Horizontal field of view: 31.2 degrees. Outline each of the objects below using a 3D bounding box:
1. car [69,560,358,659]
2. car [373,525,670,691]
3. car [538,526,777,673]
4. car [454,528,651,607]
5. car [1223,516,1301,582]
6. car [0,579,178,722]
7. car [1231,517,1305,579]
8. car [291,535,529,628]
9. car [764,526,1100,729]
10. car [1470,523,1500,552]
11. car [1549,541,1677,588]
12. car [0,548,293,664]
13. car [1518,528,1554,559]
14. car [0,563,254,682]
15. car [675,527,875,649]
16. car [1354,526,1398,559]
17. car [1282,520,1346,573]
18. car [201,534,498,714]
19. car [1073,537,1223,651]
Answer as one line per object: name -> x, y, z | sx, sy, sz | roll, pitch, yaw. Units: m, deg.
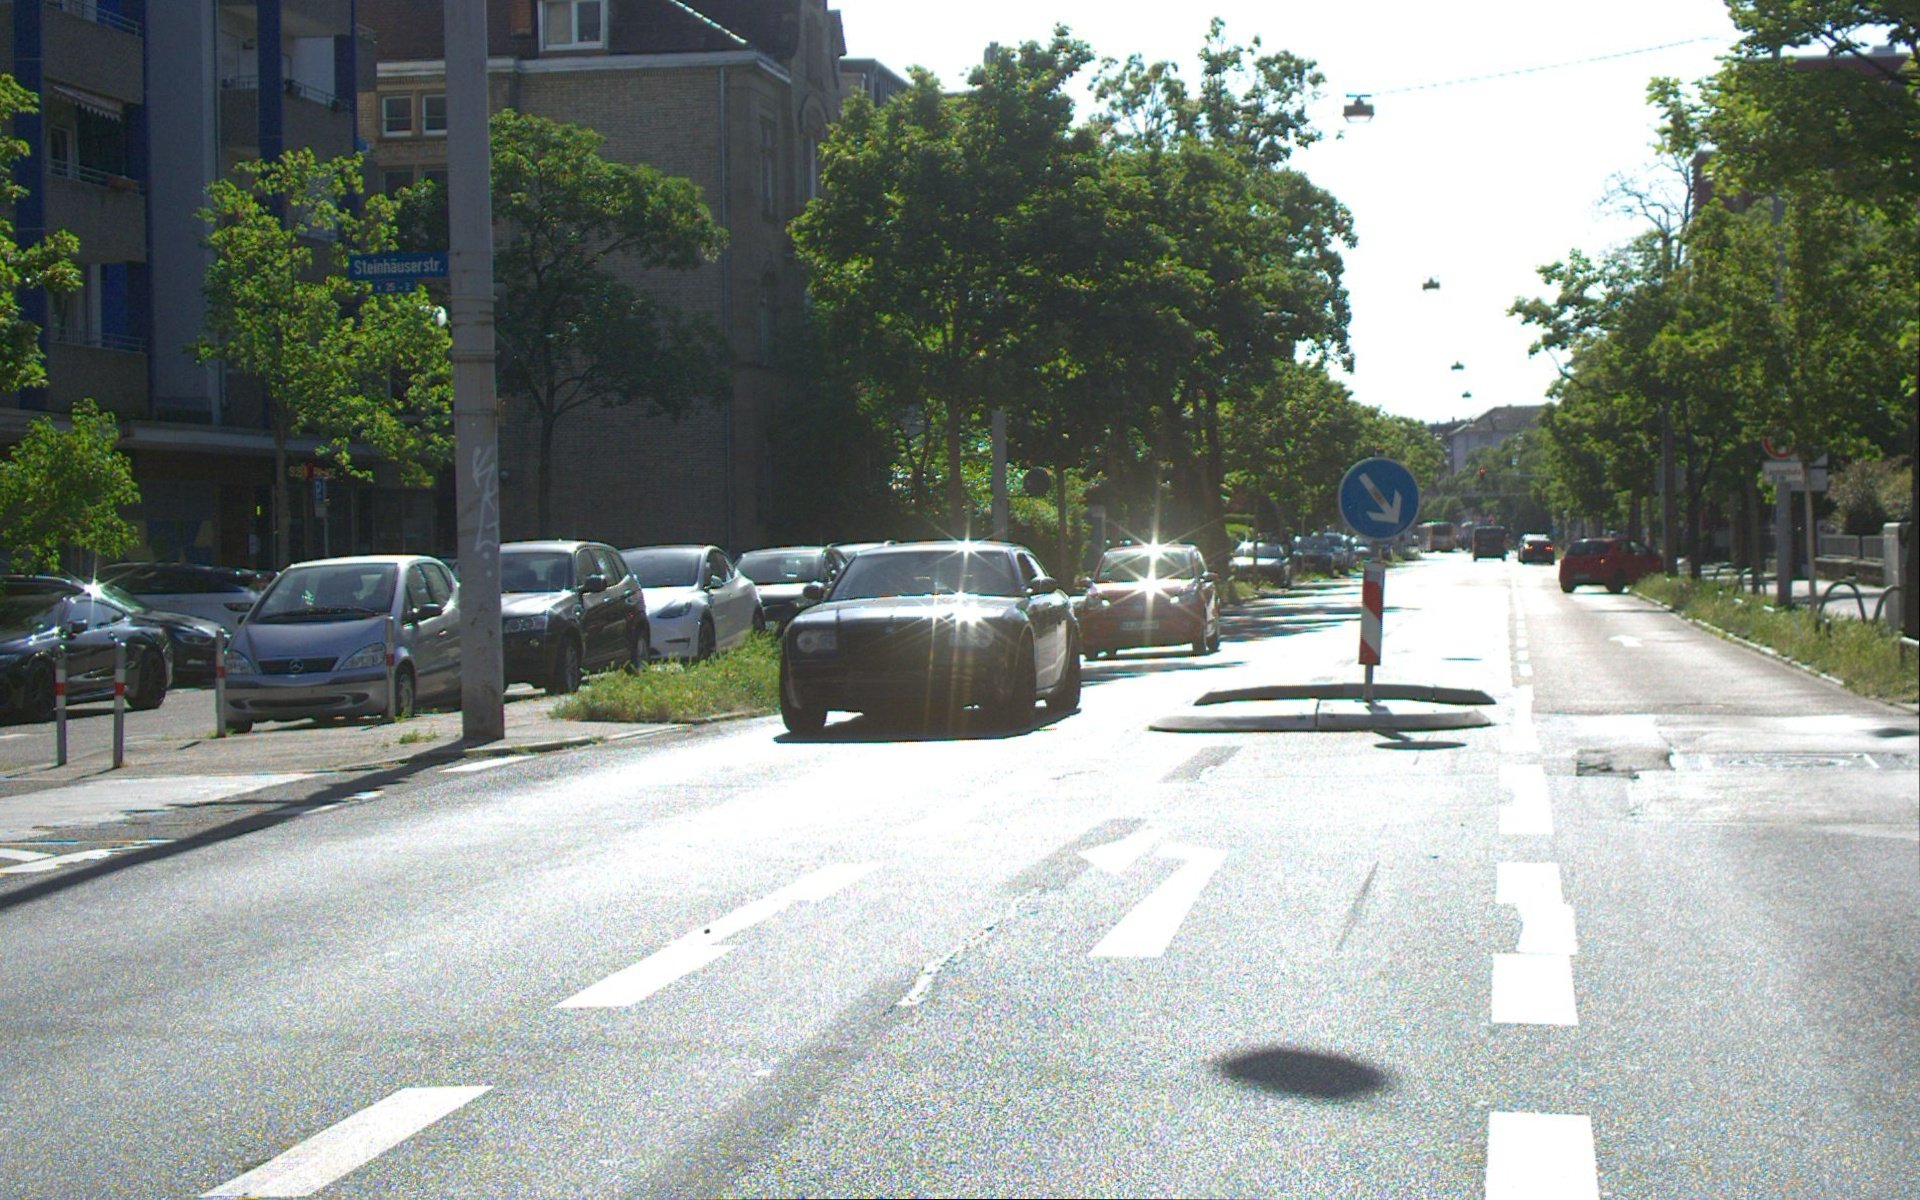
car -> -11.443, 0.142, 52.835 | 3.988, 1.420, 1.687 | -1, 1, 6
car -> -4.617, 0.035, 36.888 | 1.869, 1.622, 4.503 | -2, 1, 10
car -> -3.740, -0.053, 43.327 | 1.889, 1.656, 4.529 | -3, 1, 9
car -> -8.895, -0.717, 75.205 | 3.988, 1.624, 1.687 | -1, 1, 6
car -> 9.657, -1.650, 109.721 | 1.994, 2.007, 4.203 | -1, 1, 12
car -> -10.393, 0.531, 37.516 | 1.892, 1.393, 4.527 | -2, 1, 11
car -> 10.355, -1.761, 115.467 | 1.994, 2.007, 4.203 | -1, 1, 11
car -> -10.078, -0.351, 63.132 | 3.988, 1.624, 1.687 | -1, 1, 6
car -> -0.122, 0.158, 27.600 | 1.866, 1.453, 4.591 | -1, 1, 10
car -> 33.826, -4.045, 221.520 | 1.759, 1.777, 3.999 | -1, 1, 10
car -> 17.838, -0.982, 93.793 | 1.801, 1.219, 3.991 | 0, 1, 38
car -> -11.999, 0.078, 50.316 | 3.988, 1.602, 1.841 | -1, 1, 6
car -> 32.168, -3.164, 191.959 | 1.952, 1.702, 3.999 | -1, 1, 10
car -> -11.995, 0.306, 47.567 | 3.988, 1.546, 1.769 | -1, 1, 6
car -> -2.604, -0.202, 49.318 | 1.864, 1.582, 3.998 | -2, 1, 11
car -> 22.361, -3.107, 184.712 | 1.994, 1.690, 3.998 | -1, 1, 11
car -> 14.083, -2.142, 136.550 | 2.062, 2.007, 4.627 | -1, 1, 11
car -> -5.583, 0.182, 31.843 | 1.720, 1.513, 3.531 | -2, 1, 7
car -> 2.562, -0.106, 46.134 | 1.652, 1.423, 3.506 | -1, 1, 9
